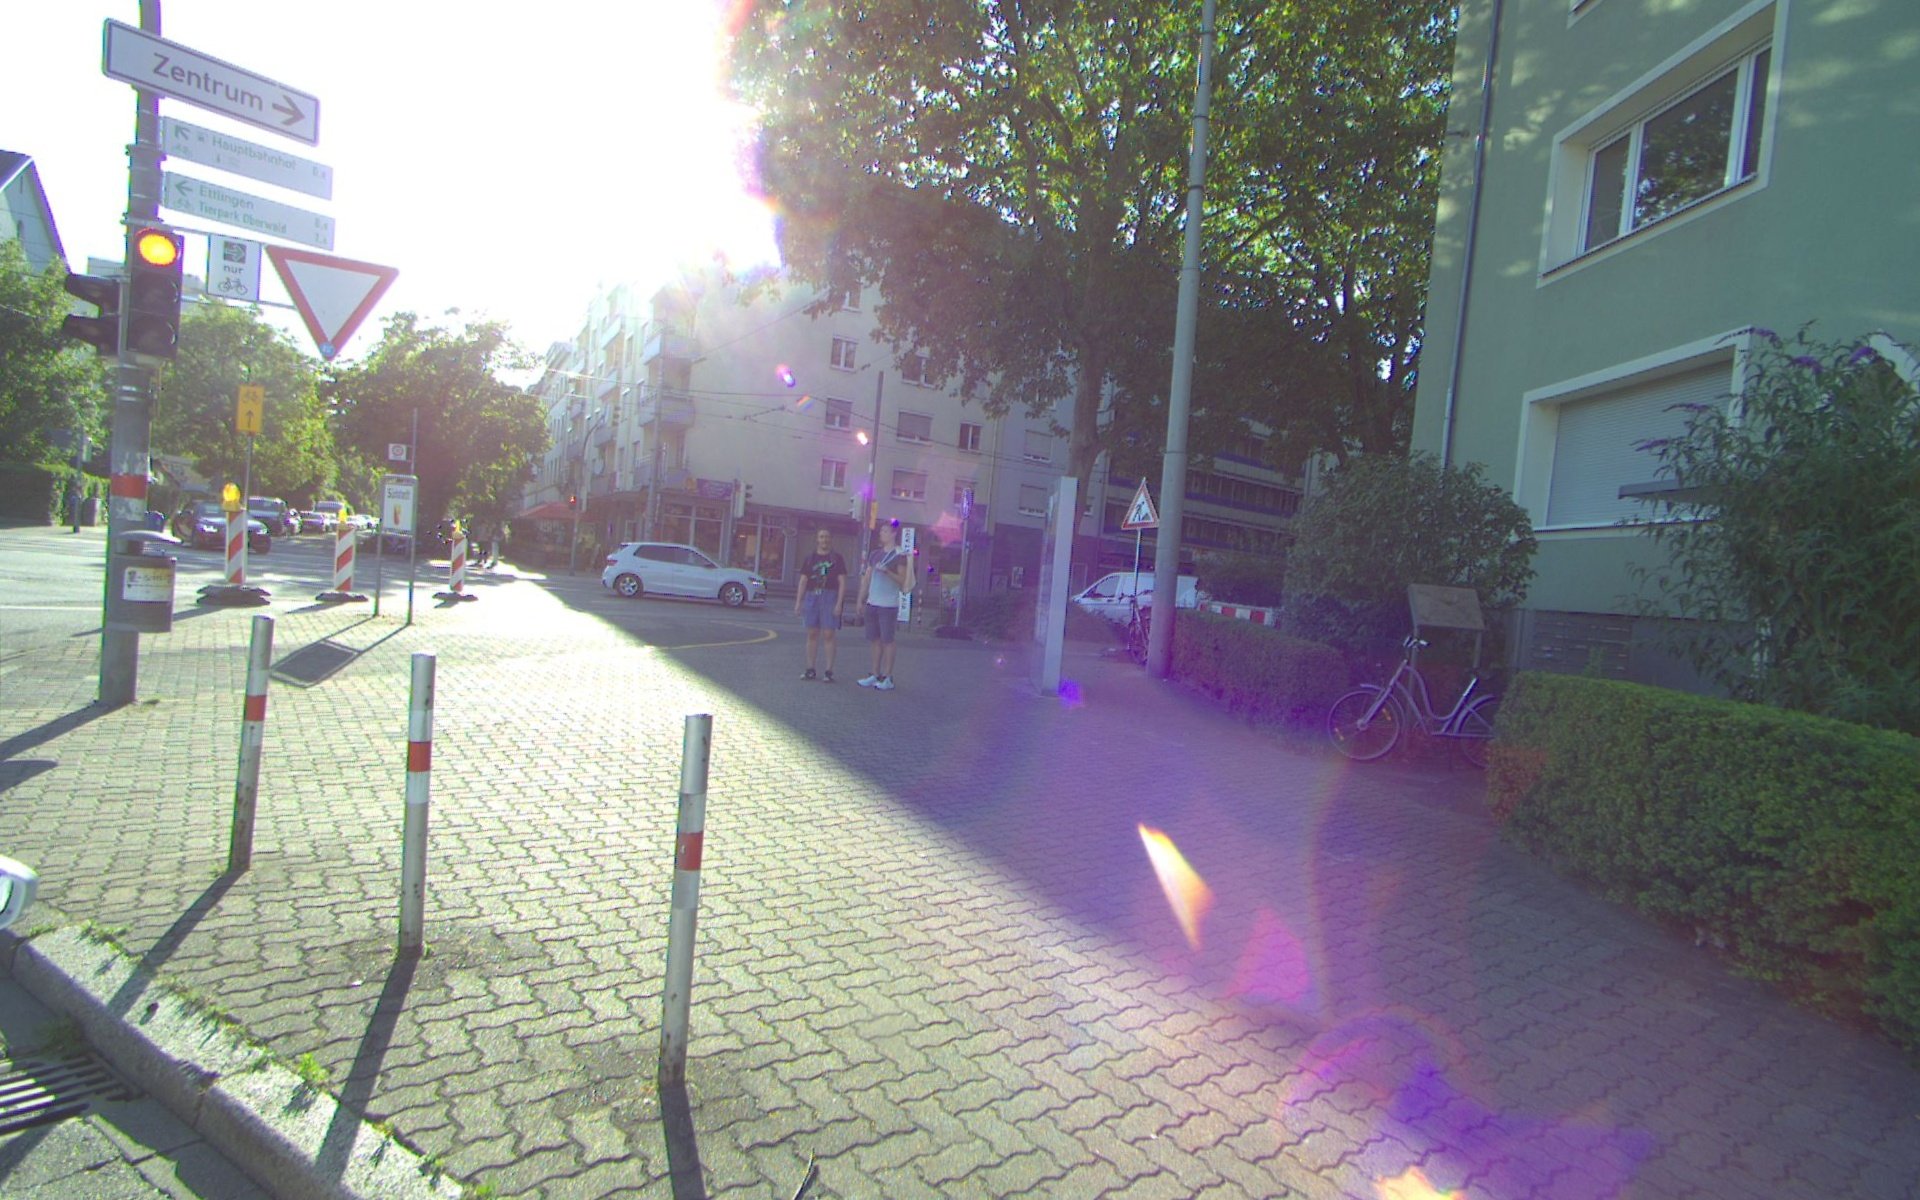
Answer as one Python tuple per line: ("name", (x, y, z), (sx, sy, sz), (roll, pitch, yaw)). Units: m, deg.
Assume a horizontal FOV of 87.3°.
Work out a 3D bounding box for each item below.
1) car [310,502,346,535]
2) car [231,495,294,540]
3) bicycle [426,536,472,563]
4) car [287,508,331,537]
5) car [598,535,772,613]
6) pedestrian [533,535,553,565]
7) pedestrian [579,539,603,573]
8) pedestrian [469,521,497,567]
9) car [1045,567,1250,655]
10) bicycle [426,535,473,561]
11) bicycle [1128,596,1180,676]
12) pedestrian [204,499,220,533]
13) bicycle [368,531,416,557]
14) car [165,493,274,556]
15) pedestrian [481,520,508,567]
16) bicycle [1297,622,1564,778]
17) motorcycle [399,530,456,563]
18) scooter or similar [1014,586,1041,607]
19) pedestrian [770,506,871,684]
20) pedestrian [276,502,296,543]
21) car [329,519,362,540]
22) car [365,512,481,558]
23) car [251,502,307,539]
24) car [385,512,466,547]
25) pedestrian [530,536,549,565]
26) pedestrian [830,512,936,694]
("car", (-54.388, -6.990, 86.636), (2.336, 2.548, 5.265), (4, 2, -31))
("car", (-37.330, -4.404, 53.987), (2.336, 2.040, 5.265), (4, 2, -31))
("bicycle", (-21.973, -2.171, 43.278), (1.708, 0.945, 0.557), (5, 2, -29))
("car", (-47.037, -5.587, 72.771), (2.336, 1.818, 5.265), (4, 2, -31))
("car", (-6.868, -0.655, 25.523), (3.930, 1.506, 1.893), (5, 2, -8))
("pedestrian", (-20.821, -2.492, 50.204), (0.803, 1.381, 0.908), (4, 2, -23))
("pedestrian", (-17.925, -2.158, 48.915), (0.806, 1.565, 0.905), (3, 3, -35))
("pedestrian", (-19.367, -2.254, 40.854), (0.706, 1.774, 0.793), (5, 2, -7))
("car", (4.711, 0.223, 26.132), (1.913, 1.849, 5.185), (5, 0, -37))
("bicycle", (-21.603, -2.194, 42.607), (1.708, 0.945, 0.557), (5, 2, -29))
("bicycle", (2.865, 0.496, 15.003), (0.511, 1.071, 1.933), (6, 2, 7))
("pedestrian", (-39.994, -4.512, 53.808), (0.575, 1.754, 0.602), (4, 3, -34))
("bicycle", (-23.701, -2.338, 42.015), (1.708, 0.945, 0.667), (5, 2, -29))
("car", (-21.914, -2.234, 29.708), (4.336, 1.585, 1.887), (6, 2, 45))
("pedestrian", (-18.572, -2.240, 40.150), (0.681, 1.774, 0.793), (5, 2, -7))
("bicycle", (3.953, 0.824, 8.549), (1.897, 1.071, 0.521), (6, 2, 5))
("motorcycle", (-21.641, -2.169, 40.883), (1.938, 1.124, 0.829), (4, 2, -34))
("scooter or similar", (3.515, -0.192, 52.149), (1.421, 0.966, 0.462), (4, 3, -44))
("pedestrian", (-1.476, -0.056, 10.724), (0.680, 1.774, 0.794), (6, 2, 13))
("pedestrian", (-32.267, -3.704, 48.148), (0.656, 1.864, 0.677), (4, 3, -30))
("car", (-61.530, -7.073, 100.808), (2.333, 1.818, 5.271), (5, 2, -28))
("car", (-30.227, -3.589, 56.677), (5.576, 1.948, 2.343), (5, 0, -32))
("car", (-40.161, -4.687, 59.460), (2.336, 1.818, 5.265), (4, 2, -31))
("car", (-39.350, -5.160, 74.119), (5.050, 1.948, 2.344), (5, 0, -32))
("pedestrian", (-21.460, -2.531, 51.360), (0.803, 1.381, 0.908), (4, 2, -23))
("pedestrian", (-0.793, 0.027, 10.521), (0.680, 1.774, 0.794), (6, 2, 21))
